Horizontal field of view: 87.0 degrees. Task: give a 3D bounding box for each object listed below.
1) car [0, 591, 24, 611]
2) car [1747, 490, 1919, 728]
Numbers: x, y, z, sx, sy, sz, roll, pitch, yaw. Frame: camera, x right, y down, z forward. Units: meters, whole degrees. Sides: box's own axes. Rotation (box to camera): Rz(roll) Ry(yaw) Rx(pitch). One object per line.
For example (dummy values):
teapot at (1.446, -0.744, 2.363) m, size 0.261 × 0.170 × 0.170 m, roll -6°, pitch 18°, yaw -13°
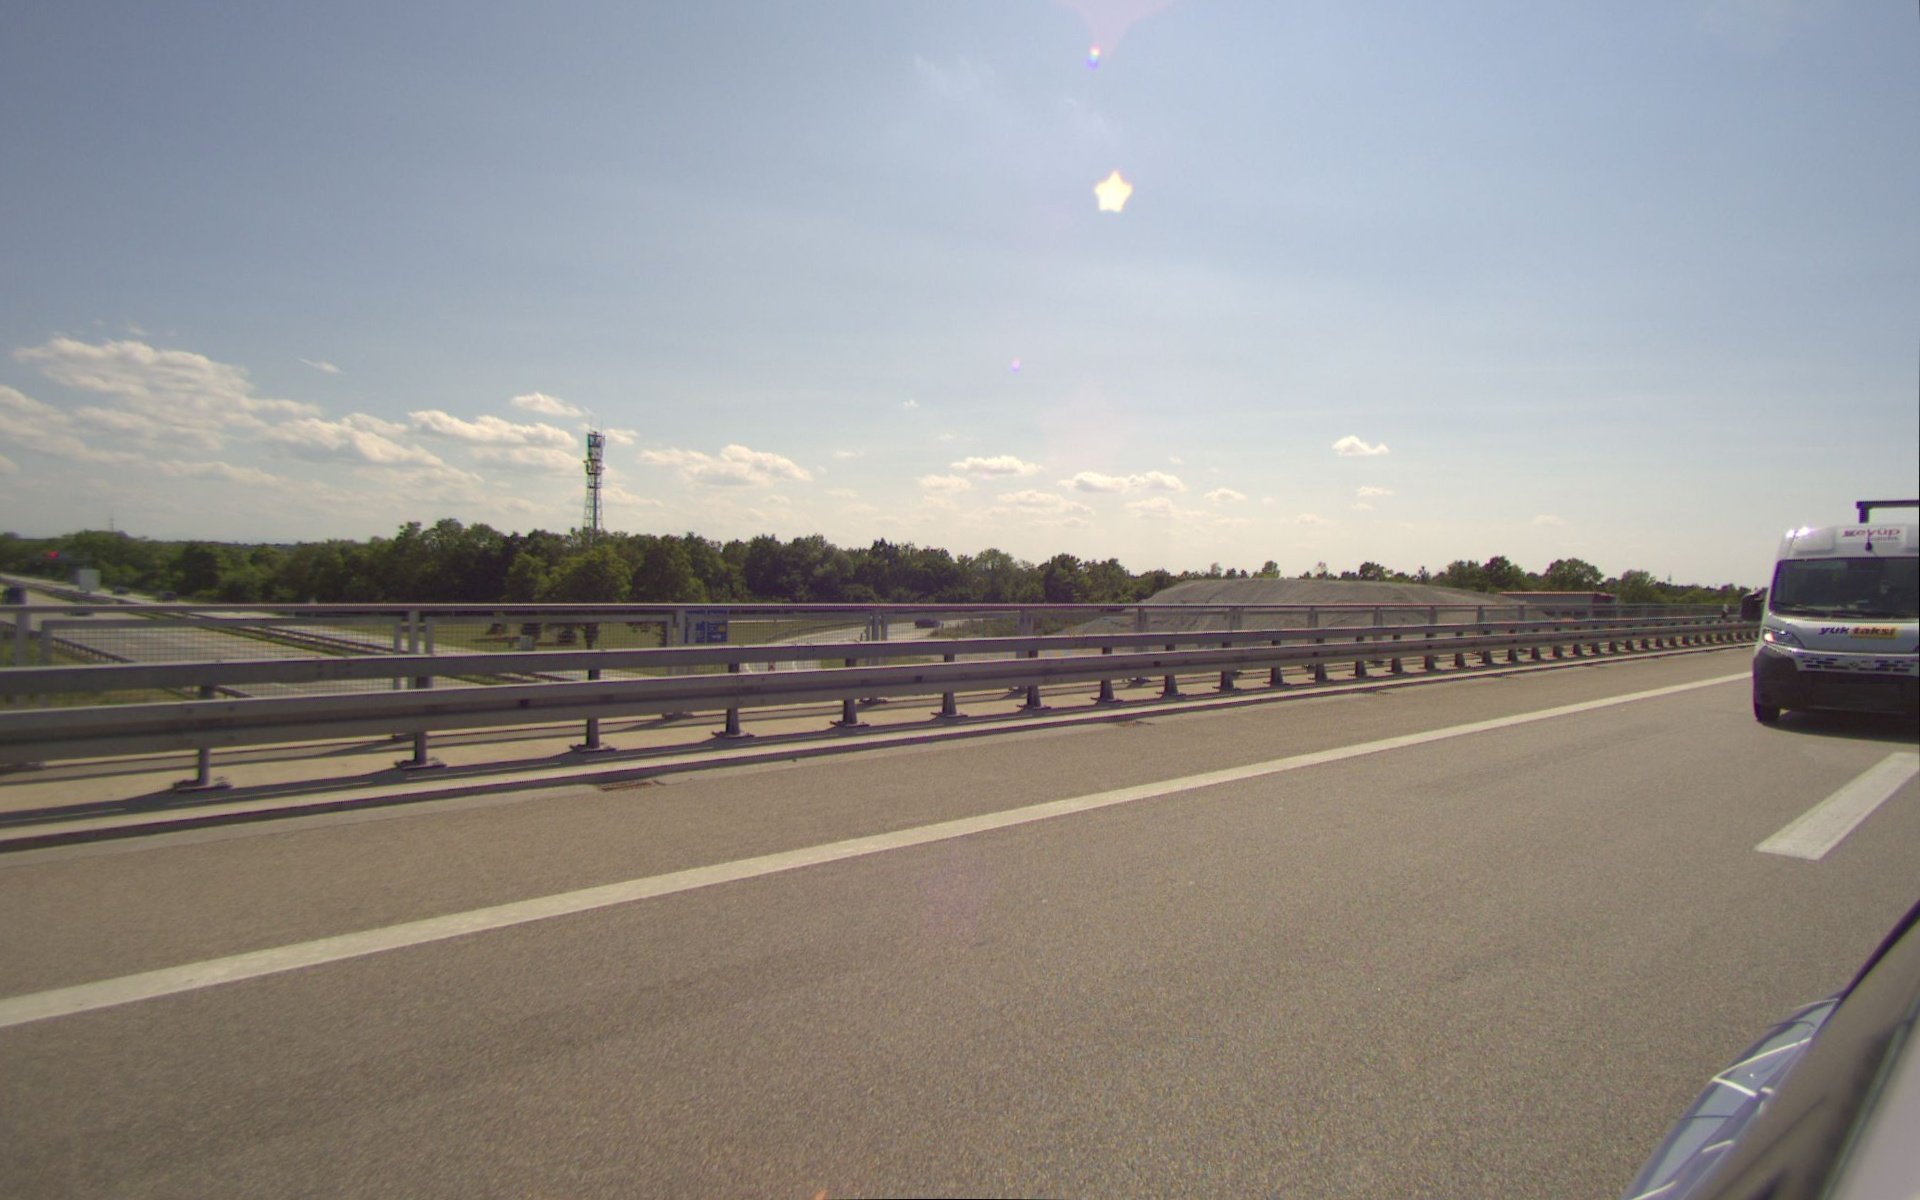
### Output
car at (-126.059, 0.121, 134.032) m, size 5.020 × 2.478 × 2.111 m, roll 1°, pitch 1°, yaw 37°
car at (12.292, 0.109, 13.314) m, size 6.131 × 2.555 × 2.085 m, roll 1°, pitch 1°, yaw -43°
